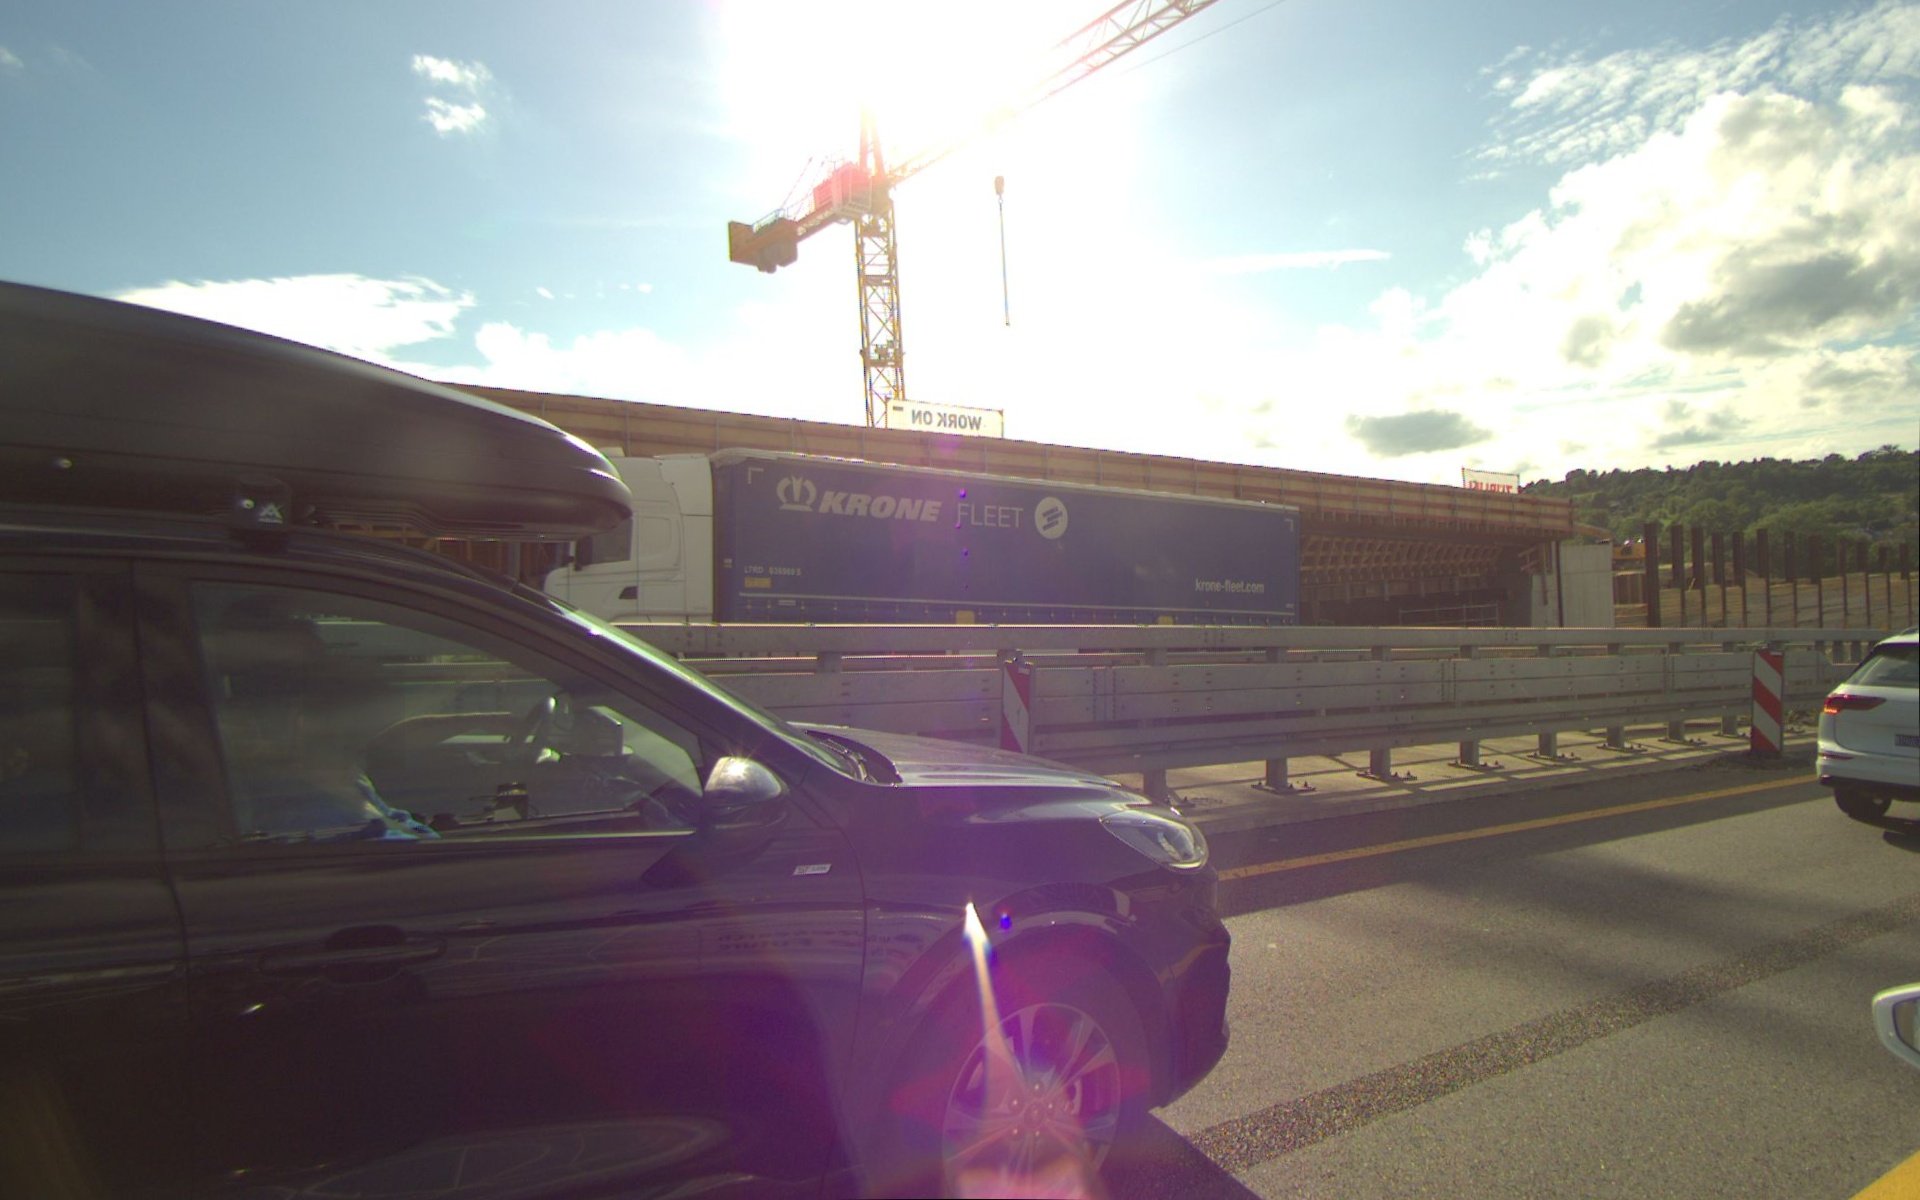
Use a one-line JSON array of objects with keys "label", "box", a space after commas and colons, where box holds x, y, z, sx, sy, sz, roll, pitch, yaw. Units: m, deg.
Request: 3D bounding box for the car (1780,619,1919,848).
[{"label": "car", "box": [8.328, 0.916, 7.621, 4.462, 1.511, 1.762, 1, -2, -29]}]

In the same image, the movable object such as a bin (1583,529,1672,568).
[{"label": "movable object such as a bin", "box": [65.792, -5.003, 99.112, 4.438, 3.314, 5.743, 2, 0, -17]}]

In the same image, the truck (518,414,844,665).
[{"label": "truck", "box": [-4.763, -0.825, 17.130, 4.753, 3.677, 2.829, 2, 0, -30]}]

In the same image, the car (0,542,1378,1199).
[{"label": "car", "box": [-1.266, 0.695, 2.282, 4.333, 1.563, 1.791, 2, 1, -30]}]

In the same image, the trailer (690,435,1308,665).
[{"label": "trailer", "box": [1.472, -0.618, 20.861, 13.372, 3.715, 2.849, 2, 0, -31]}]
